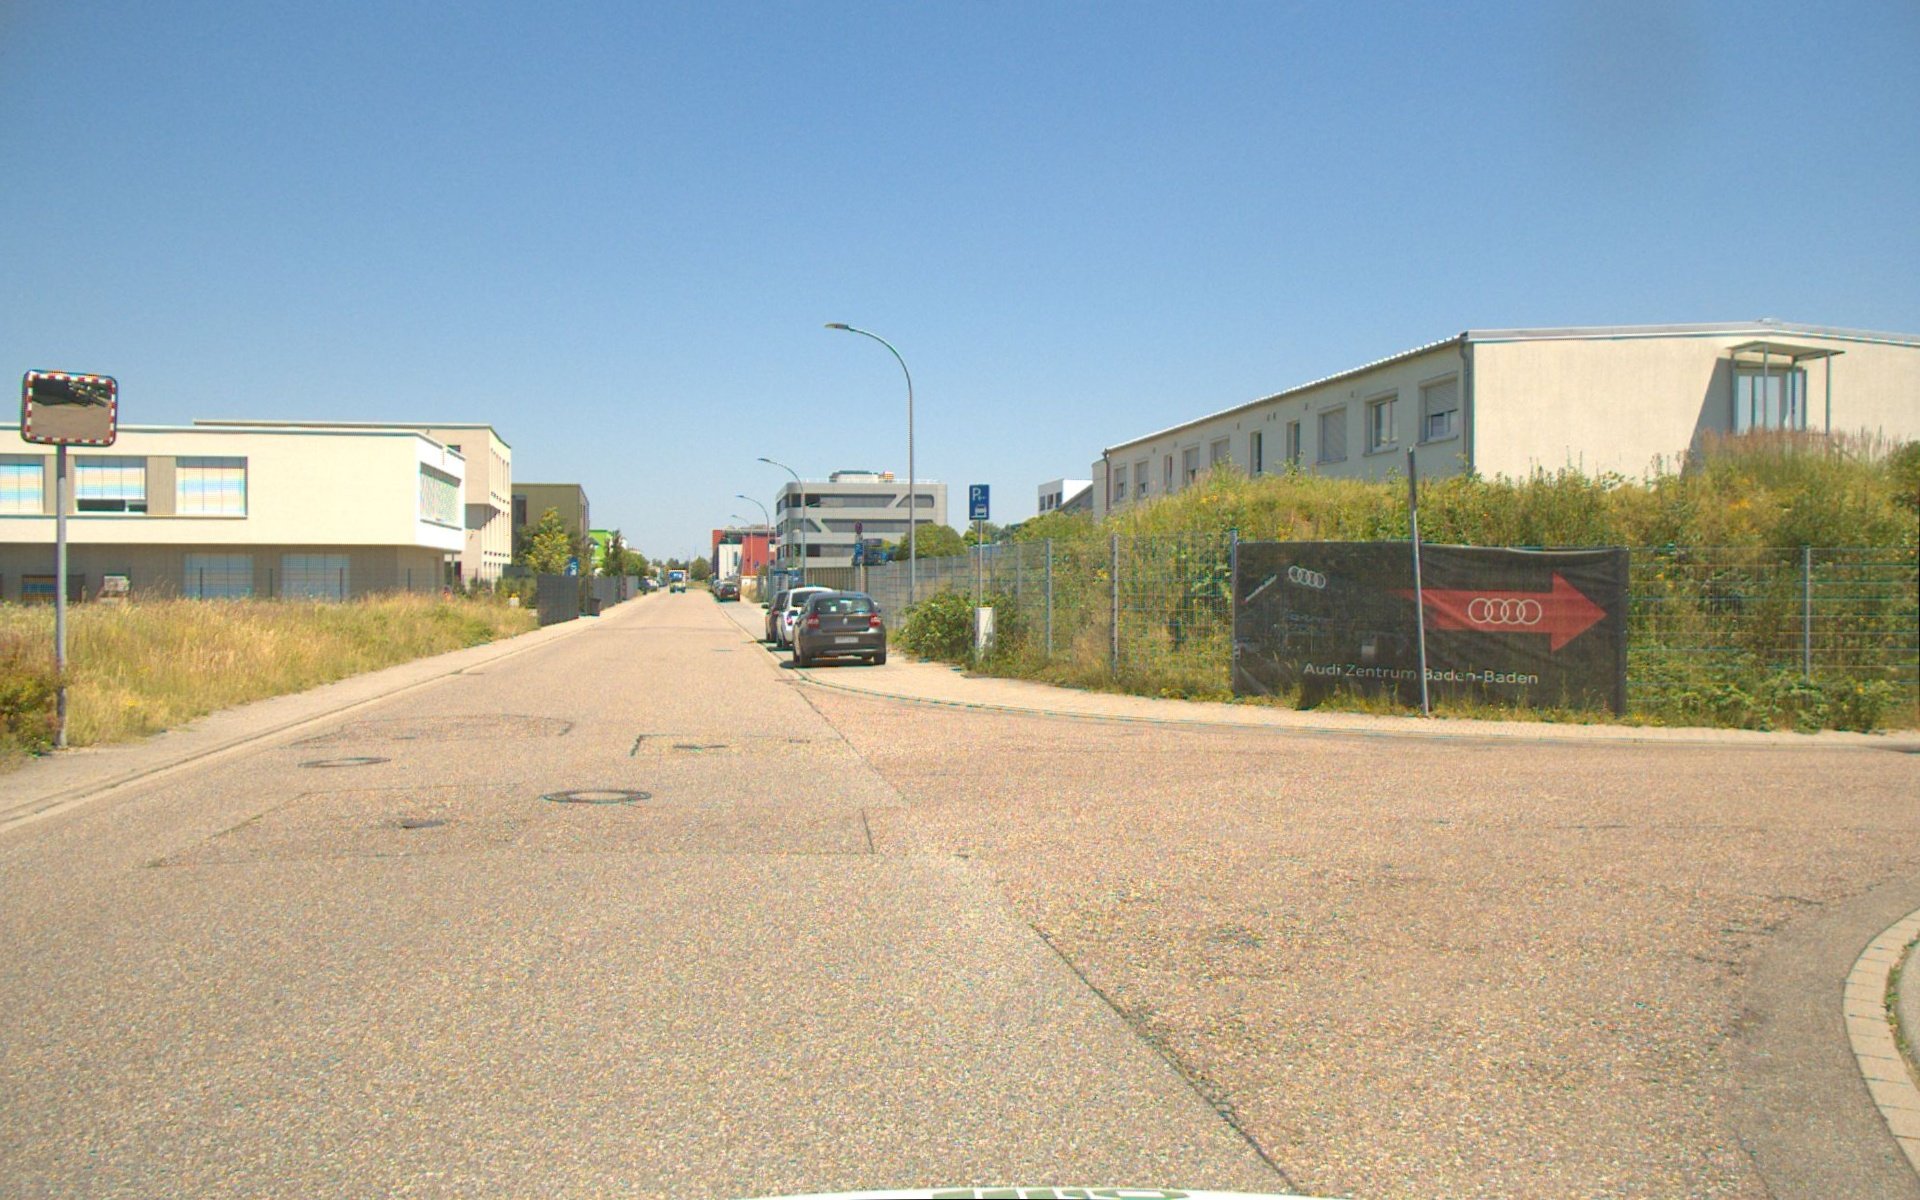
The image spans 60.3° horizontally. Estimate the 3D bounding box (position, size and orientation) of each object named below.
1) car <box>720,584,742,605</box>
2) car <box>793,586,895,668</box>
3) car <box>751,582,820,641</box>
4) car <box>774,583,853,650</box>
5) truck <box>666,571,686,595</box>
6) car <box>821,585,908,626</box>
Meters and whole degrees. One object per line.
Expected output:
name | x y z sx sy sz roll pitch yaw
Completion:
car | -19.751 -0.466 142.511 1.743 1.758 3.992 2 0 -9
car | -2.401 0.489 33.392 1.871 1.473 3.995 -2 1 -6
car | -5.095 0.288 48.113 1.871 1.573 3.995 -2 1 -6
car | -3.809 0.372 42.577 1.871 1.573 3.995 -2 1 -6
truck | -42.934 -2.609 249.767 2.553 3.606 10.472 -1 1 -11
car | -5.173 0.288 89.417 4.536 2.049 2.603 2 0 -6
